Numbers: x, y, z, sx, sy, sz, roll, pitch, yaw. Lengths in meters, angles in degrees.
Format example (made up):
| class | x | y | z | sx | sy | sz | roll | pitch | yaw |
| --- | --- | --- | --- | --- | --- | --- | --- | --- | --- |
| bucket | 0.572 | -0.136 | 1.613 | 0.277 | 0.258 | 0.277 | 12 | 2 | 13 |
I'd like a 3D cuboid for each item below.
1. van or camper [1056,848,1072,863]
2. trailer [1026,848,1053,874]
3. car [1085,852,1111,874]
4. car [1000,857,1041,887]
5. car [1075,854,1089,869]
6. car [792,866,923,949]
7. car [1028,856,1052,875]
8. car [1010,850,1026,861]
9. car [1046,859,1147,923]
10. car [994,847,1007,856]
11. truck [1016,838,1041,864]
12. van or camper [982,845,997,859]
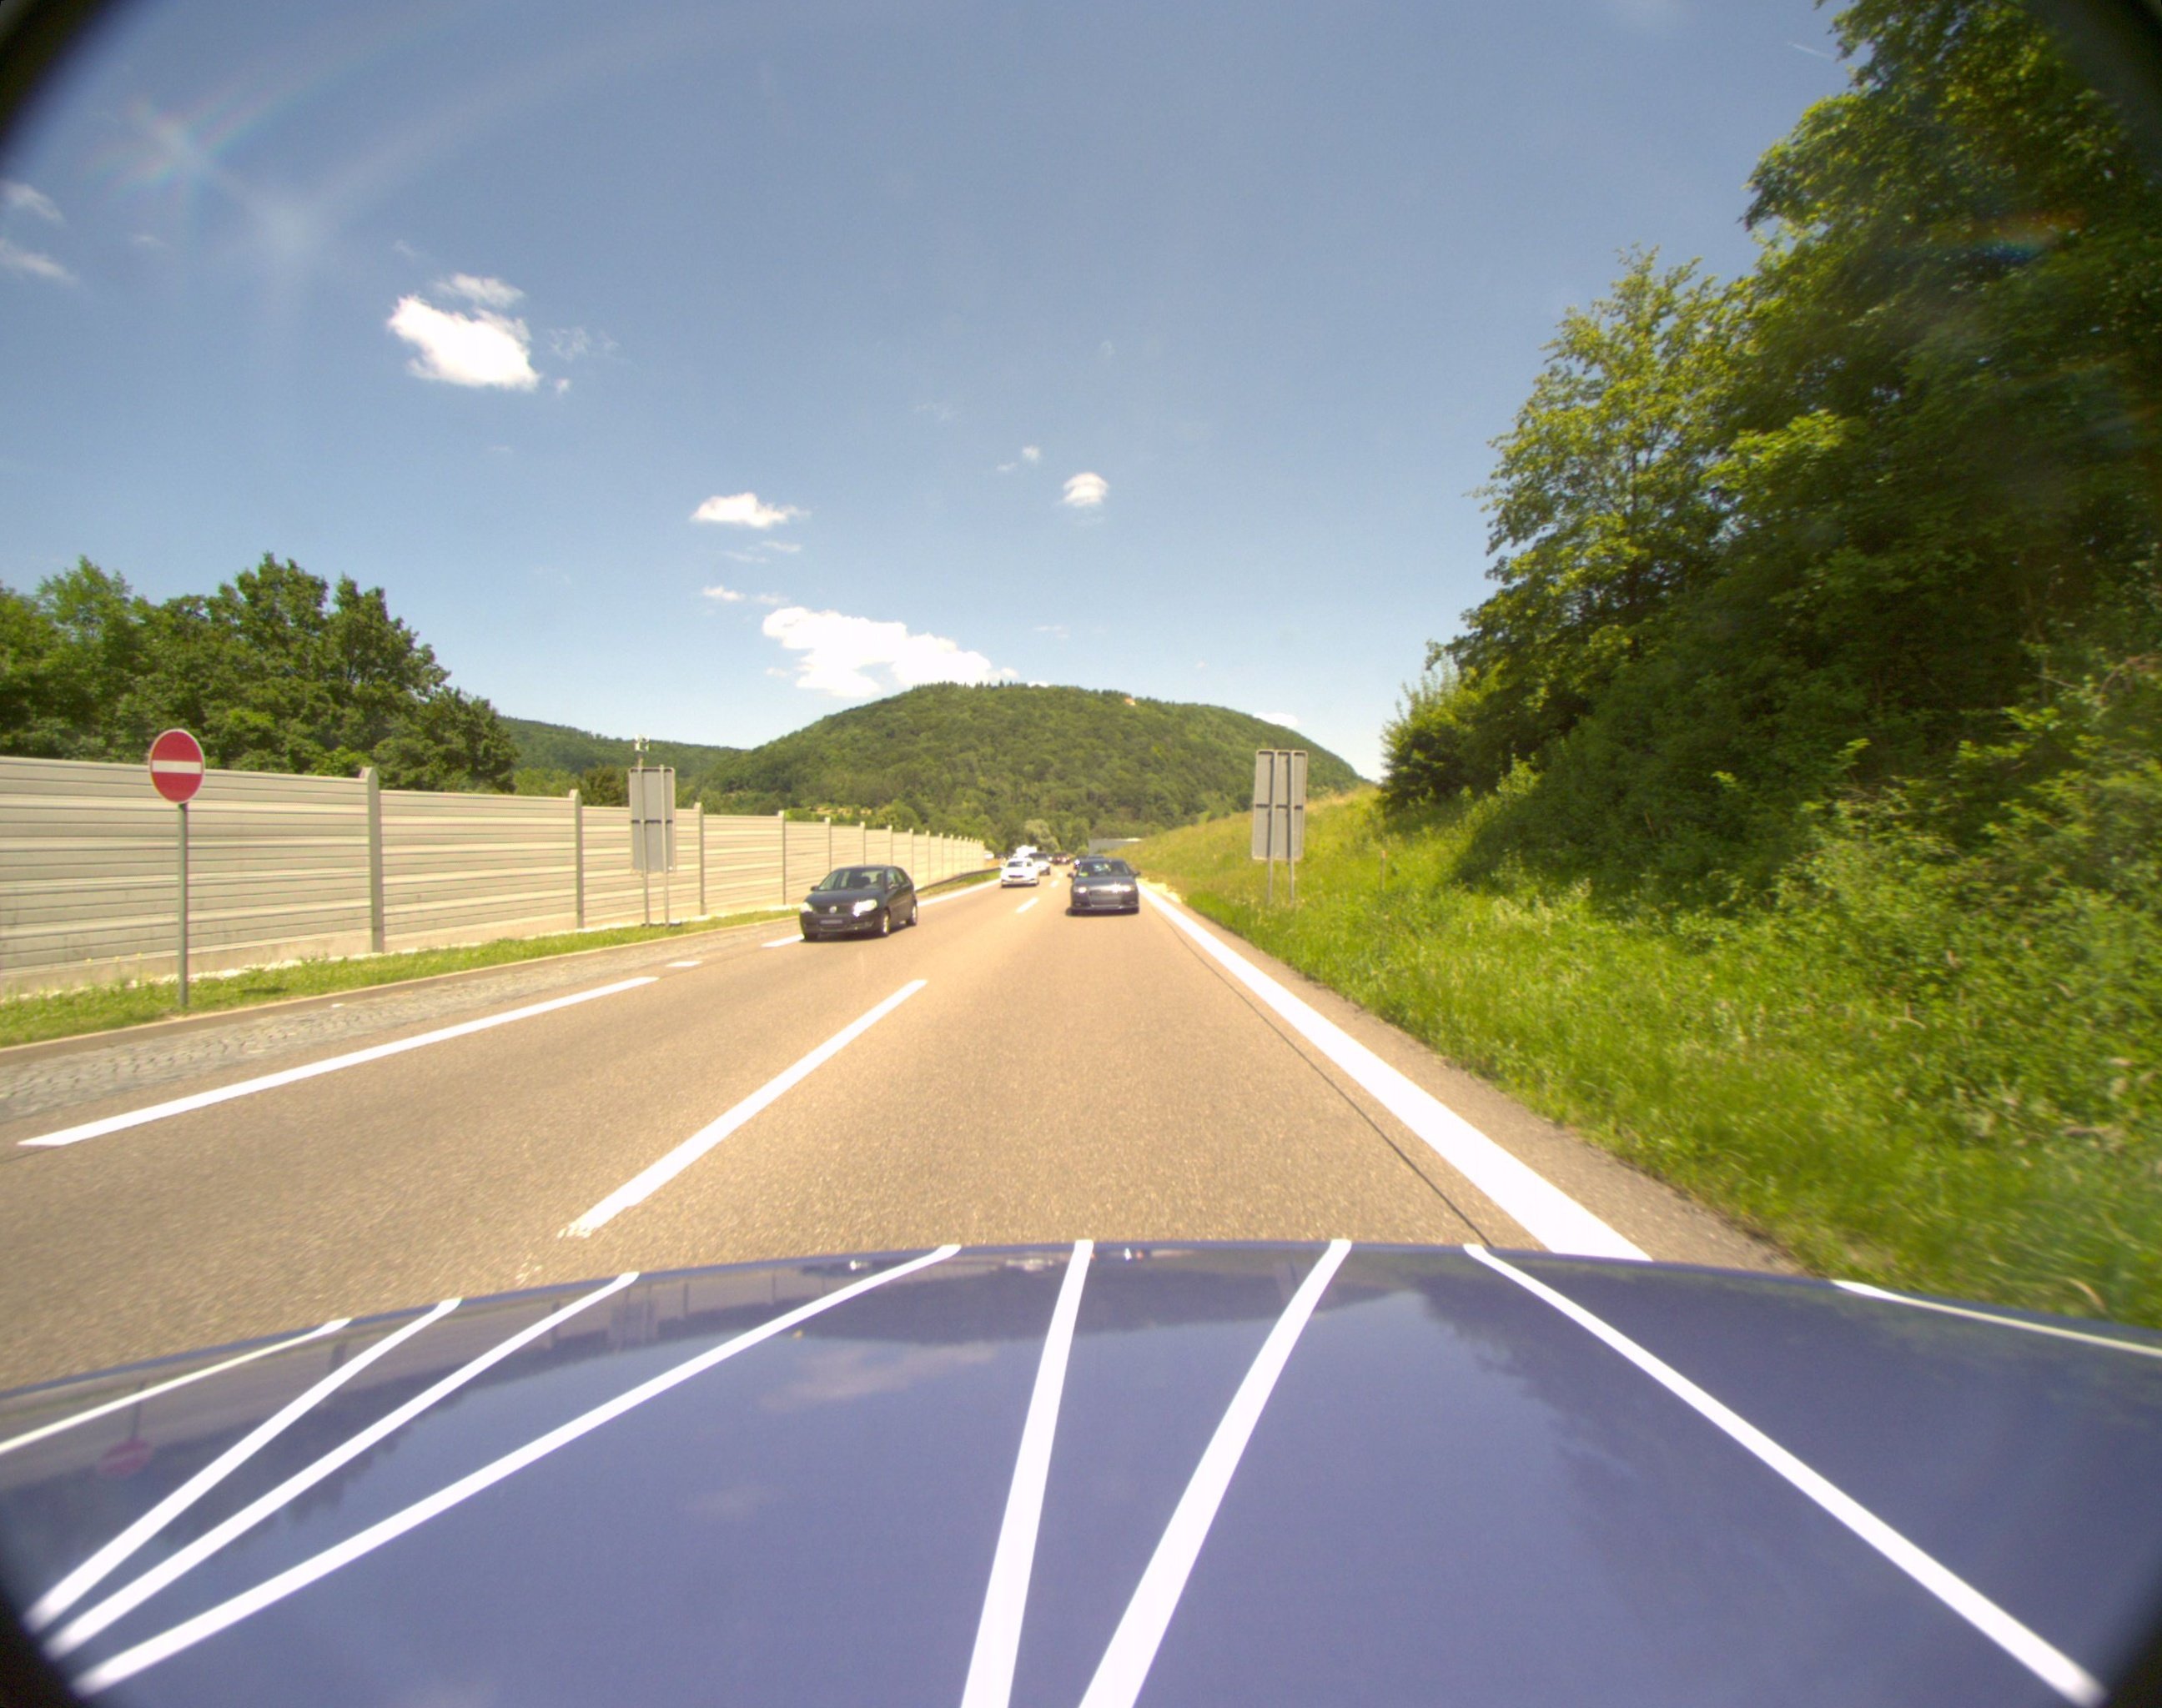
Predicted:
| class | x | y | z | sx | sy | sz | roll | pitch | yaw |
| --- | --- | --- | --- | --- | --- | --- | --- | --- | --- |
| van or camper | -2.307 | 0.210 | 100.226 | 1.818 | 1.855 | 3.611 | -3 | 1 | -5 |
| trailer | -3.395 | 0.549 | 61.712 | 1.999 | 1.958 | 3.997 | 0 | 1 | -5 |
| car | 1.184 | 0.589 | 52.025 | 1.695 | 1.422 | 3.463 | -2 | 0 | 2 |
| car | -3.129 | 0.879 | 39.666 | 1.907 | 1.422 | 3.721 | 0 | 1 | -1 |
| car | 0.081 | 0.696 | 74.066 | 1.286 | 1.305 | 3.452 | -4 | 1 | 0 |
| car | -4.603 | 1.036 | 16.207 | 1.696 | 1.414 | 3.837 | -2 | 1 | -1 |
| car | -3.093 | 0.854 | 57.942 | 1.488 | 1.375 | 3.738 | -1 | 0 | 2 |
| car | -9.893 | 0.277 | 119.362 | 1.700 | 1.523 | 3.675 | -5 | 1 | -18 |
| car | 0.284 | 0.876 | 19.820 | 1.757 | 1.382 | 4.051 | -3 | 0 | -11 |
| car | -17.875 | -0.597 | 169.085 | 2.001 | 2.002 | 3.993 | -3 | 1 | -19 |
| truck | -6.862 | -0.392 | 98.437 | 2.604 | 3.089 | 6.853 | -5 | 1 | -7 |
| van or camper | -19.420 | -0.413 | 161.056 | 1.912 | 3.010 | 4.866 | -3 | 1 | -21 |
